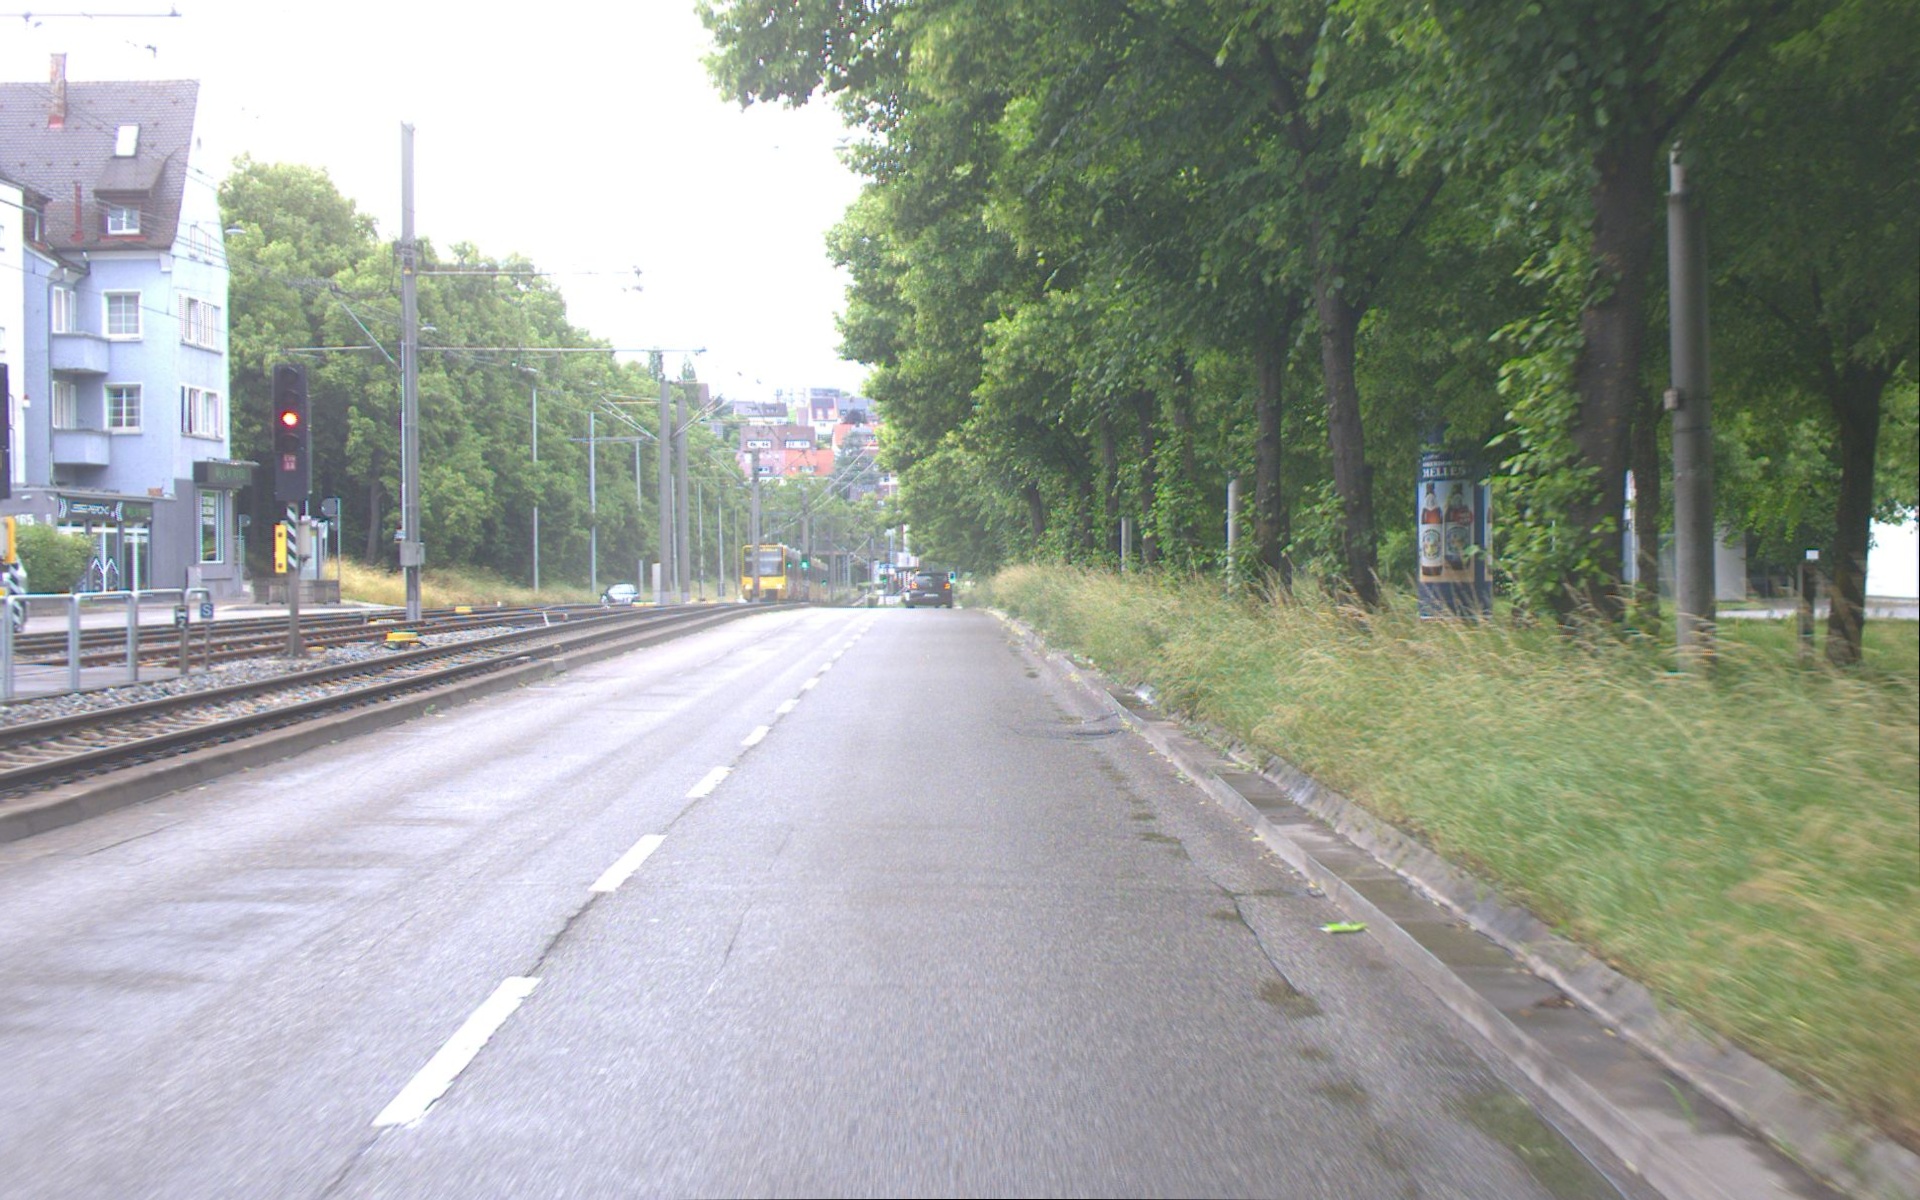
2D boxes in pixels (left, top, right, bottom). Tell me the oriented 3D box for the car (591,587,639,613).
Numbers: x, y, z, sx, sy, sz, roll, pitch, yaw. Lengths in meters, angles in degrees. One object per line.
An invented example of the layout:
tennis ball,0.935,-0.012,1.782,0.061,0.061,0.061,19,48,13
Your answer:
car,-17.850,0.030,178.211,1.902,1.320,4.826,0,0,1

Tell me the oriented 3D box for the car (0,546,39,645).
car,-16.793,-0.070,56.522,1.902,1.639,4.884,0,1,1

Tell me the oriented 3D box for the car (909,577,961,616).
car,-0.949,-0.154,132.902,1.982,1.436,4.474,0,1,0

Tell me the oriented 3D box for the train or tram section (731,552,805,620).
train or tram section,-11.177,-0.766,201.479,3.214,3.783,14.788,0,0,1

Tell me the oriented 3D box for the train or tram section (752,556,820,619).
train or tram section,-10.881,-0.722,216.290,3.214,3.783,14.788,0,0,1
